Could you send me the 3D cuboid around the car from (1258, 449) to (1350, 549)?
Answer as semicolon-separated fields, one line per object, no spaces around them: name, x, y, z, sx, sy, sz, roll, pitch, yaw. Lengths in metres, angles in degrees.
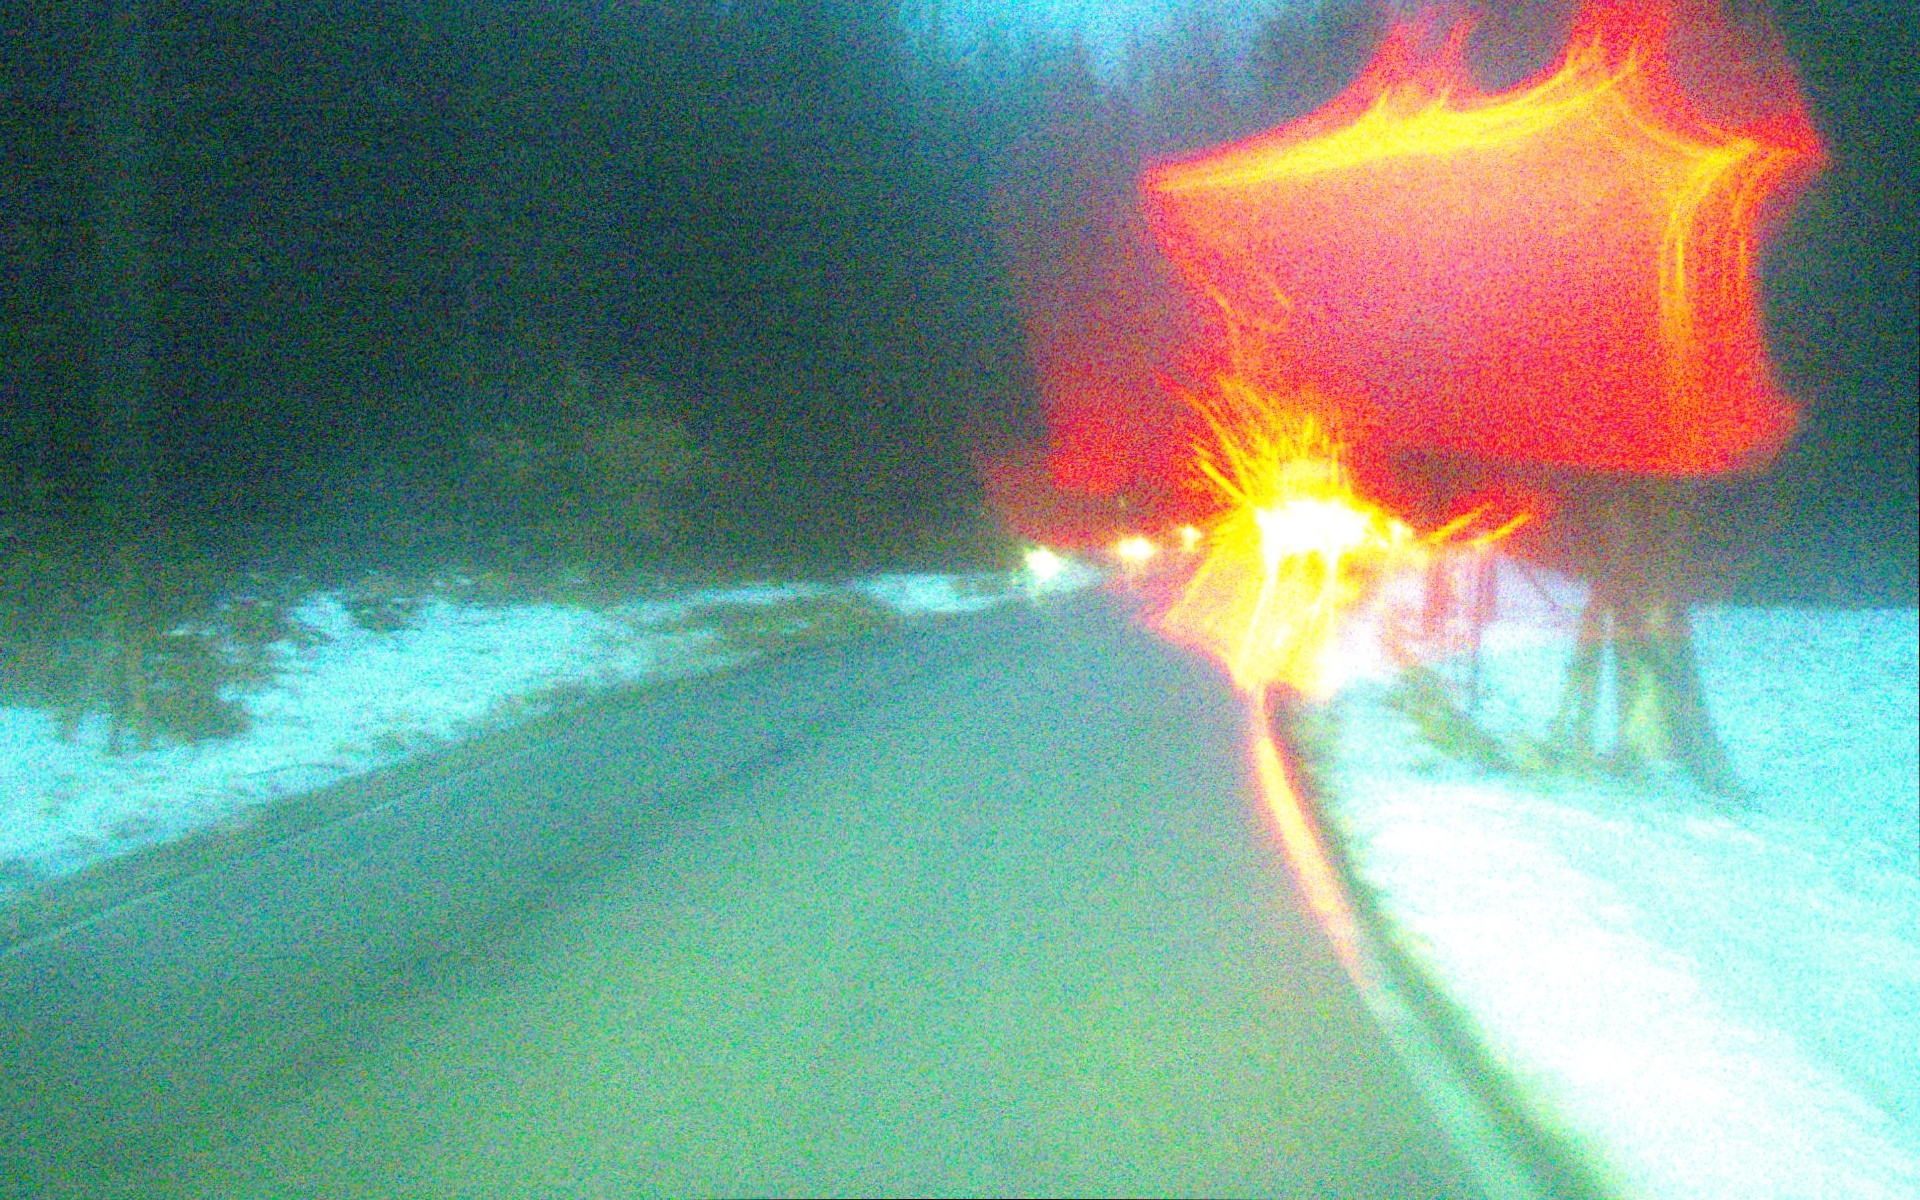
car;9.454;-2.767;94.884;2.252;2.636;5.006;-1;1;3

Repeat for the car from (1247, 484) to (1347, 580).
car;7.411;-1.520;75.874;1.994;2.044;4.000;1;2;3
